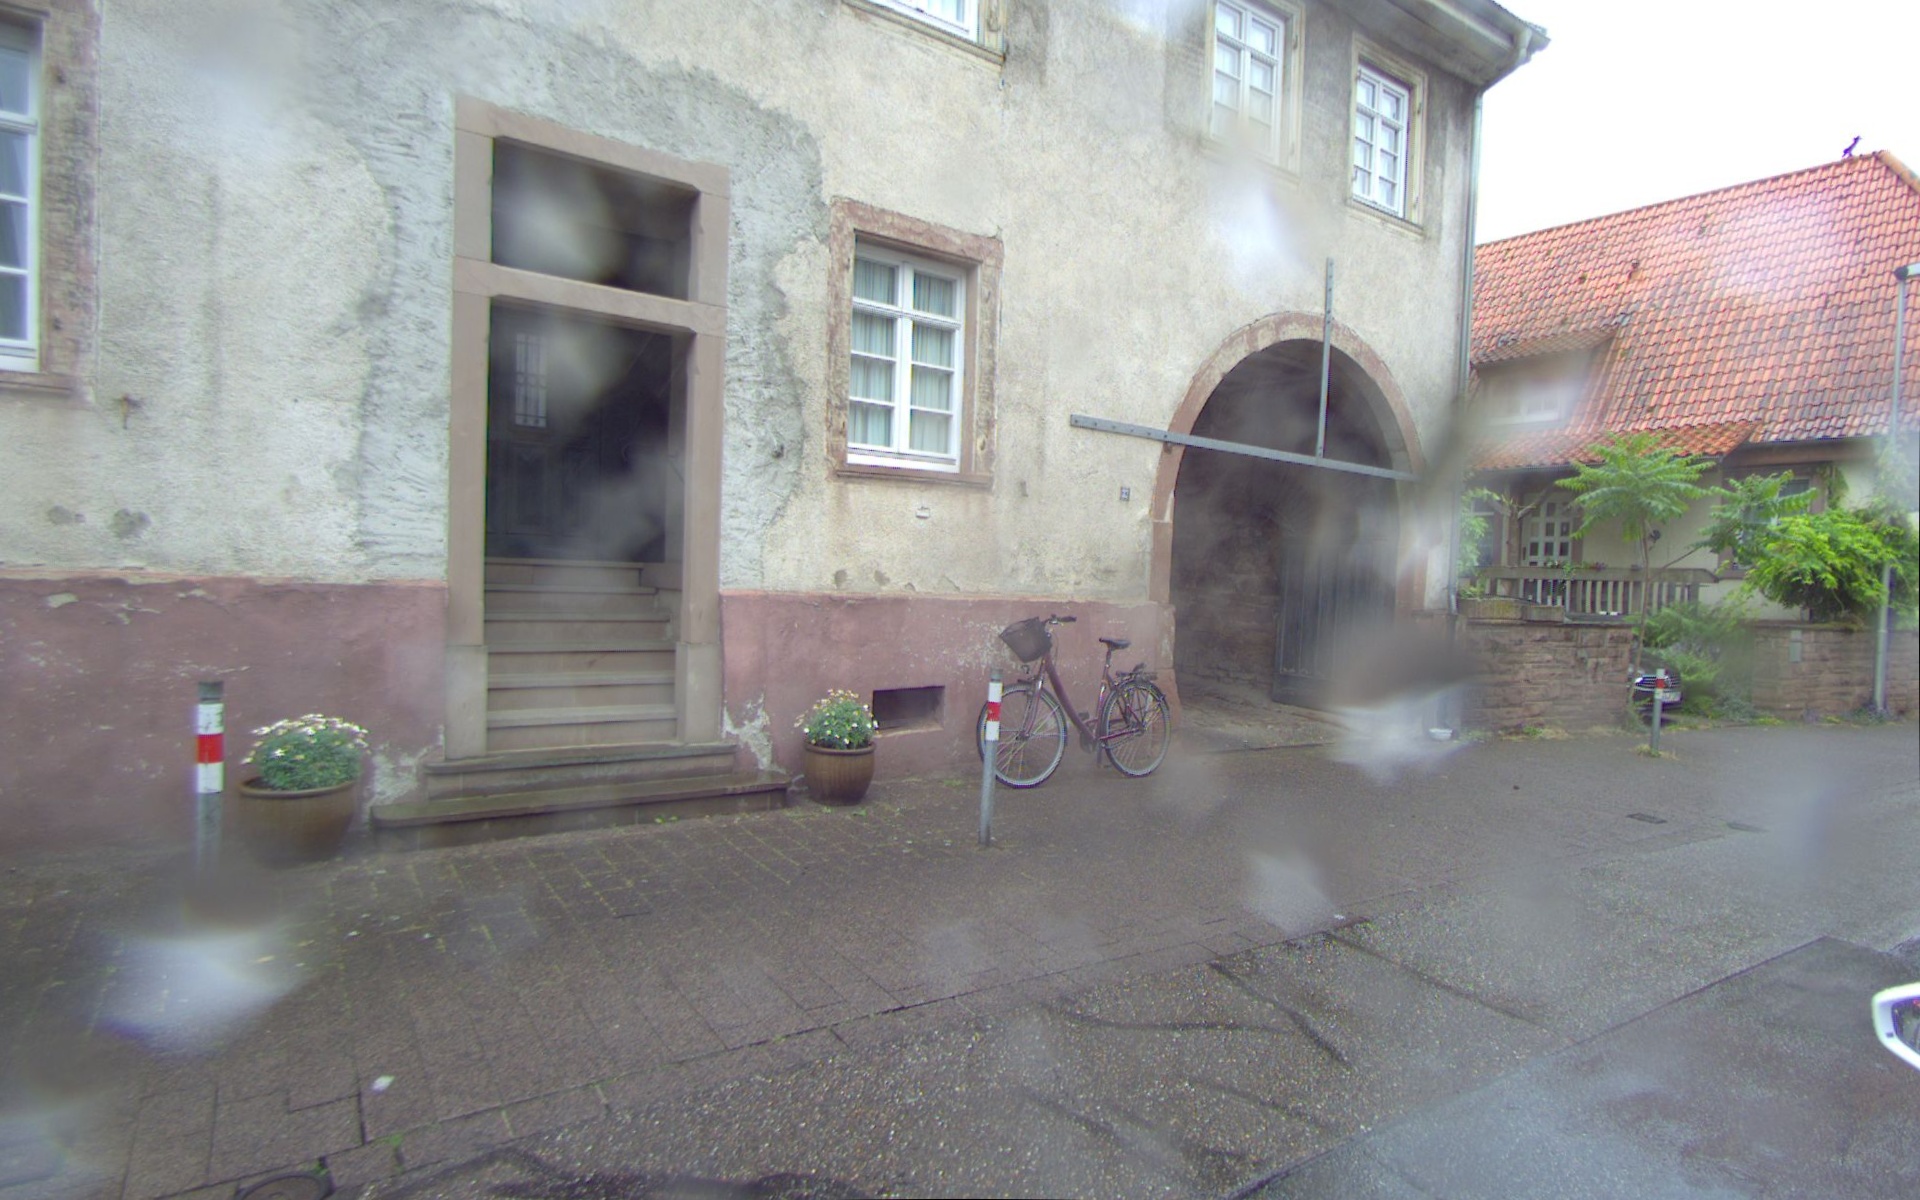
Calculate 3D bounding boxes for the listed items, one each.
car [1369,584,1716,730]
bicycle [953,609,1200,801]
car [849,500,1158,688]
[{"bbox_3d":[8.216,0.711,14.592,1.714,1.445,3.971,2,5,-27],"label":"car"},{"bbox_3d":[0.865,0.682,7.130,1.856,1.194,0.478,1,4,-36],"label":"bicycle"},{"bbox_3d":[0.381,-0.210,13.376,1.867,1.959,4.198,1,6,-34],"label":"car"}]
